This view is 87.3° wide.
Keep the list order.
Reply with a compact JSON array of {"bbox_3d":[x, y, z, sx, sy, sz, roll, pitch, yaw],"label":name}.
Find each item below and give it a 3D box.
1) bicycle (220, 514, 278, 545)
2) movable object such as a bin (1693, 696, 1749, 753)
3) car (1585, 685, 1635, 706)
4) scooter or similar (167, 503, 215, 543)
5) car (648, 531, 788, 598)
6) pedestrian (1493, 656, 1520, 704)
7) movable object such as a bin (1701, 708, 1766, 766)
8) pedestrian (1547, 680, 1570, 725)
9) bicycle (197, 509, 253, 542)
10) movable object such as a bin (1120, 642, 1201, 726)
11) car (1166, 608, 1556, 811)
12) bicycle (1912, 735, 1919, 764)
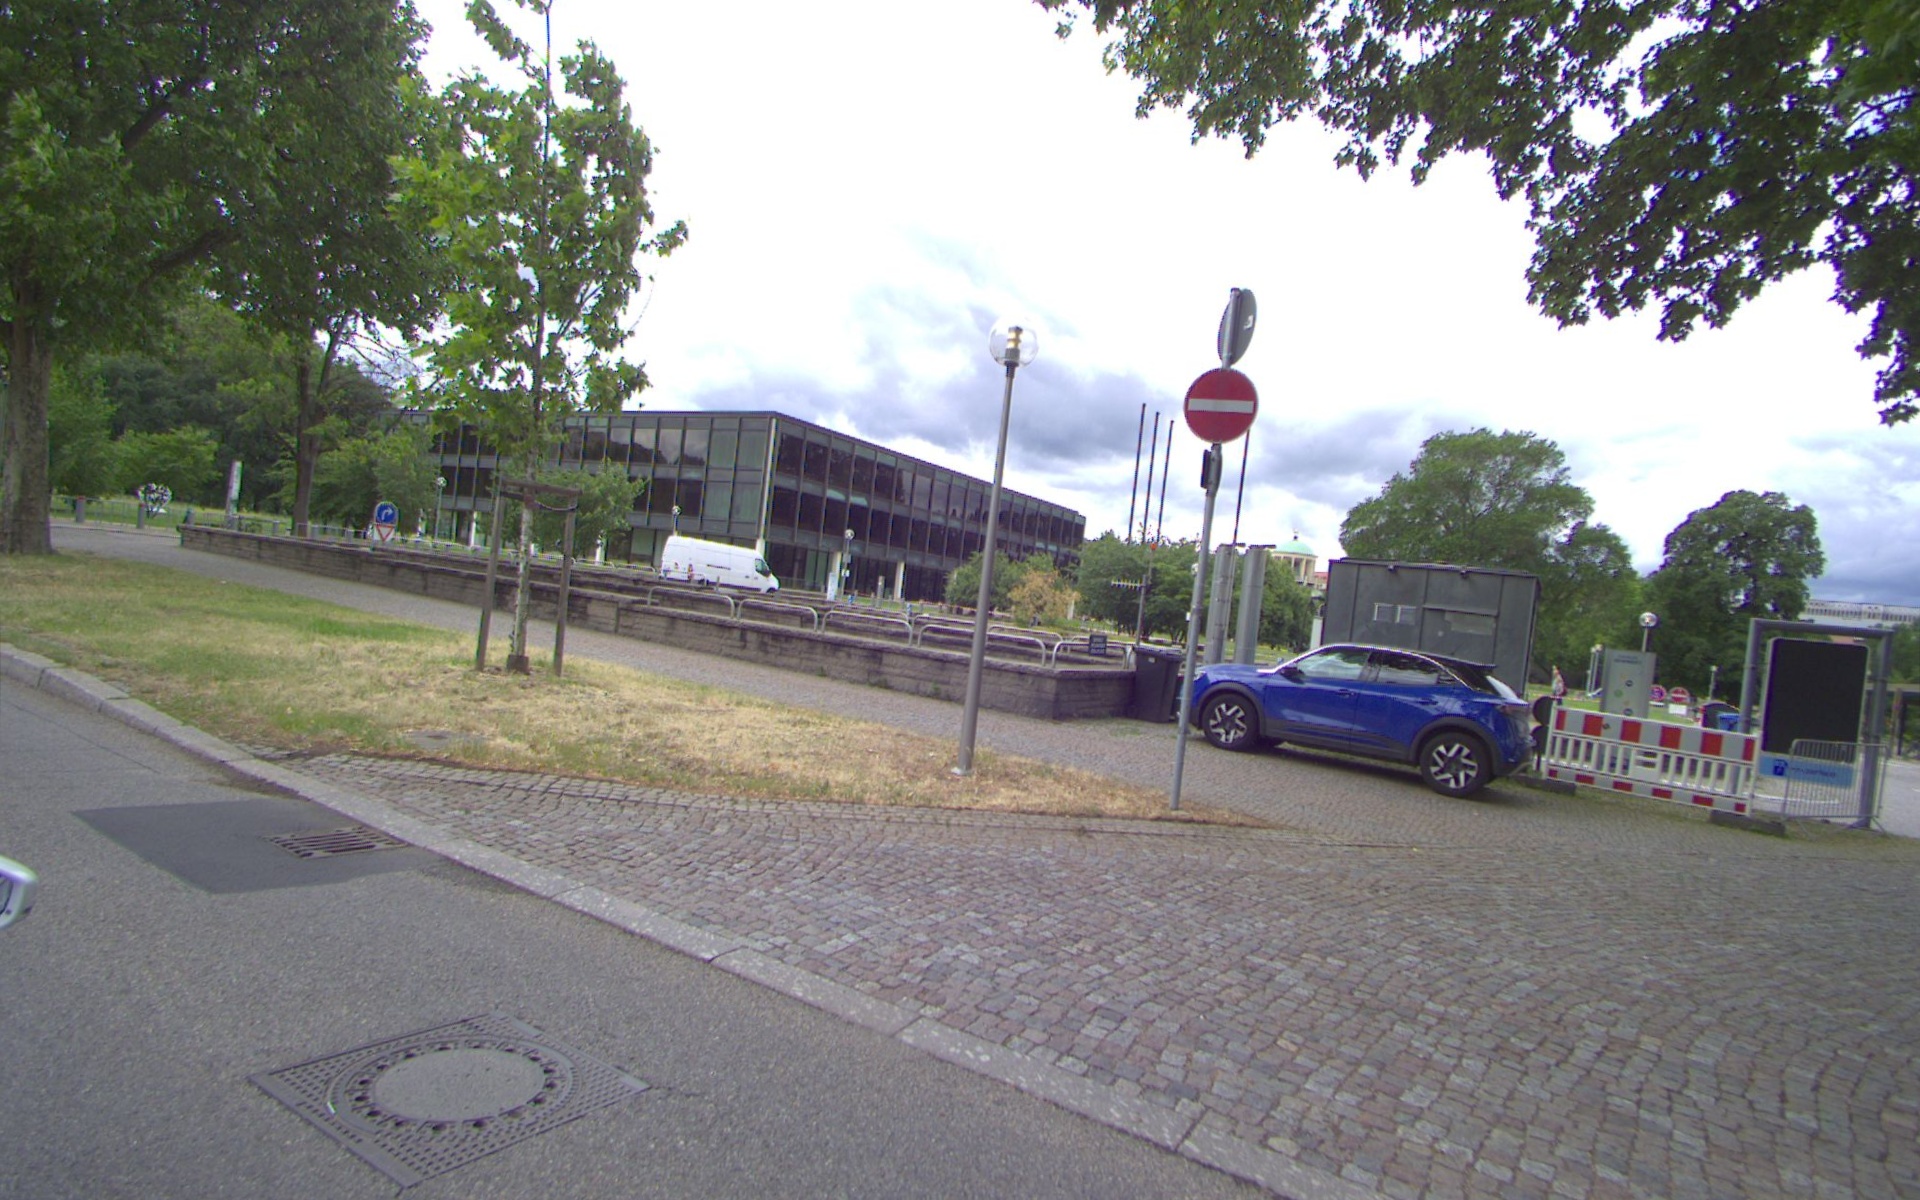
[{"bbox_3d":[-30.162,-2.996,42.664,2.741,0.986,0.956,6,-2,32],"label":"bicycle"},{"bbox_3d":[23.060,3.752,30.517,1.134,1.515,1.409,7,0,34],"label":"movable object such as a bin"},{"bbox_3d":[77.699,11.441,120.302,4.835,1.758,2.074,6,-2,35],"label":"car"},{"bbox_3d":[-28.125,-2.823,36.760,2.190,1.259,0.636,6,-2,35],"label":"scooter or similar"},{"bbox_3d":[-11.010,-1.558,46.334,2.363,2.288,6.112,7,0,34],"label":"car"},{"bbox_3d":[24.801,3.620,45.641,0.799,2.037,0.625,8,-2,-38],"label":"pedestrian"},{"bbox_3d":[20.471,3.605,26.670,1.134,1.320,1.409,7,0,34],"label":"movable object such as a bin"},{"bbox_3d":[25.767,4.398,43.307,0.537,1.826,0.500,7,-1,5],"label":"pedestrian"},{"bbox_3d":[-30.334,-3.082,41.505,2.297,1.076,0.956,6,-2,32],"label":"bicycle"},{"bbox_3d":[2.999,1.240,14.997,0.757,1.078,1.009,10,2,29],"label":"movable object such as a bin"},{"bbox_3d":[4.804,1.210,12.249,3.961,1.571,1.761,9,2,35],"label":"car"},{"bbox_3d":[46.859,7.244,47.544,2.536,1.360,0.726,6,-2,32],"label":"bicycle"}]
